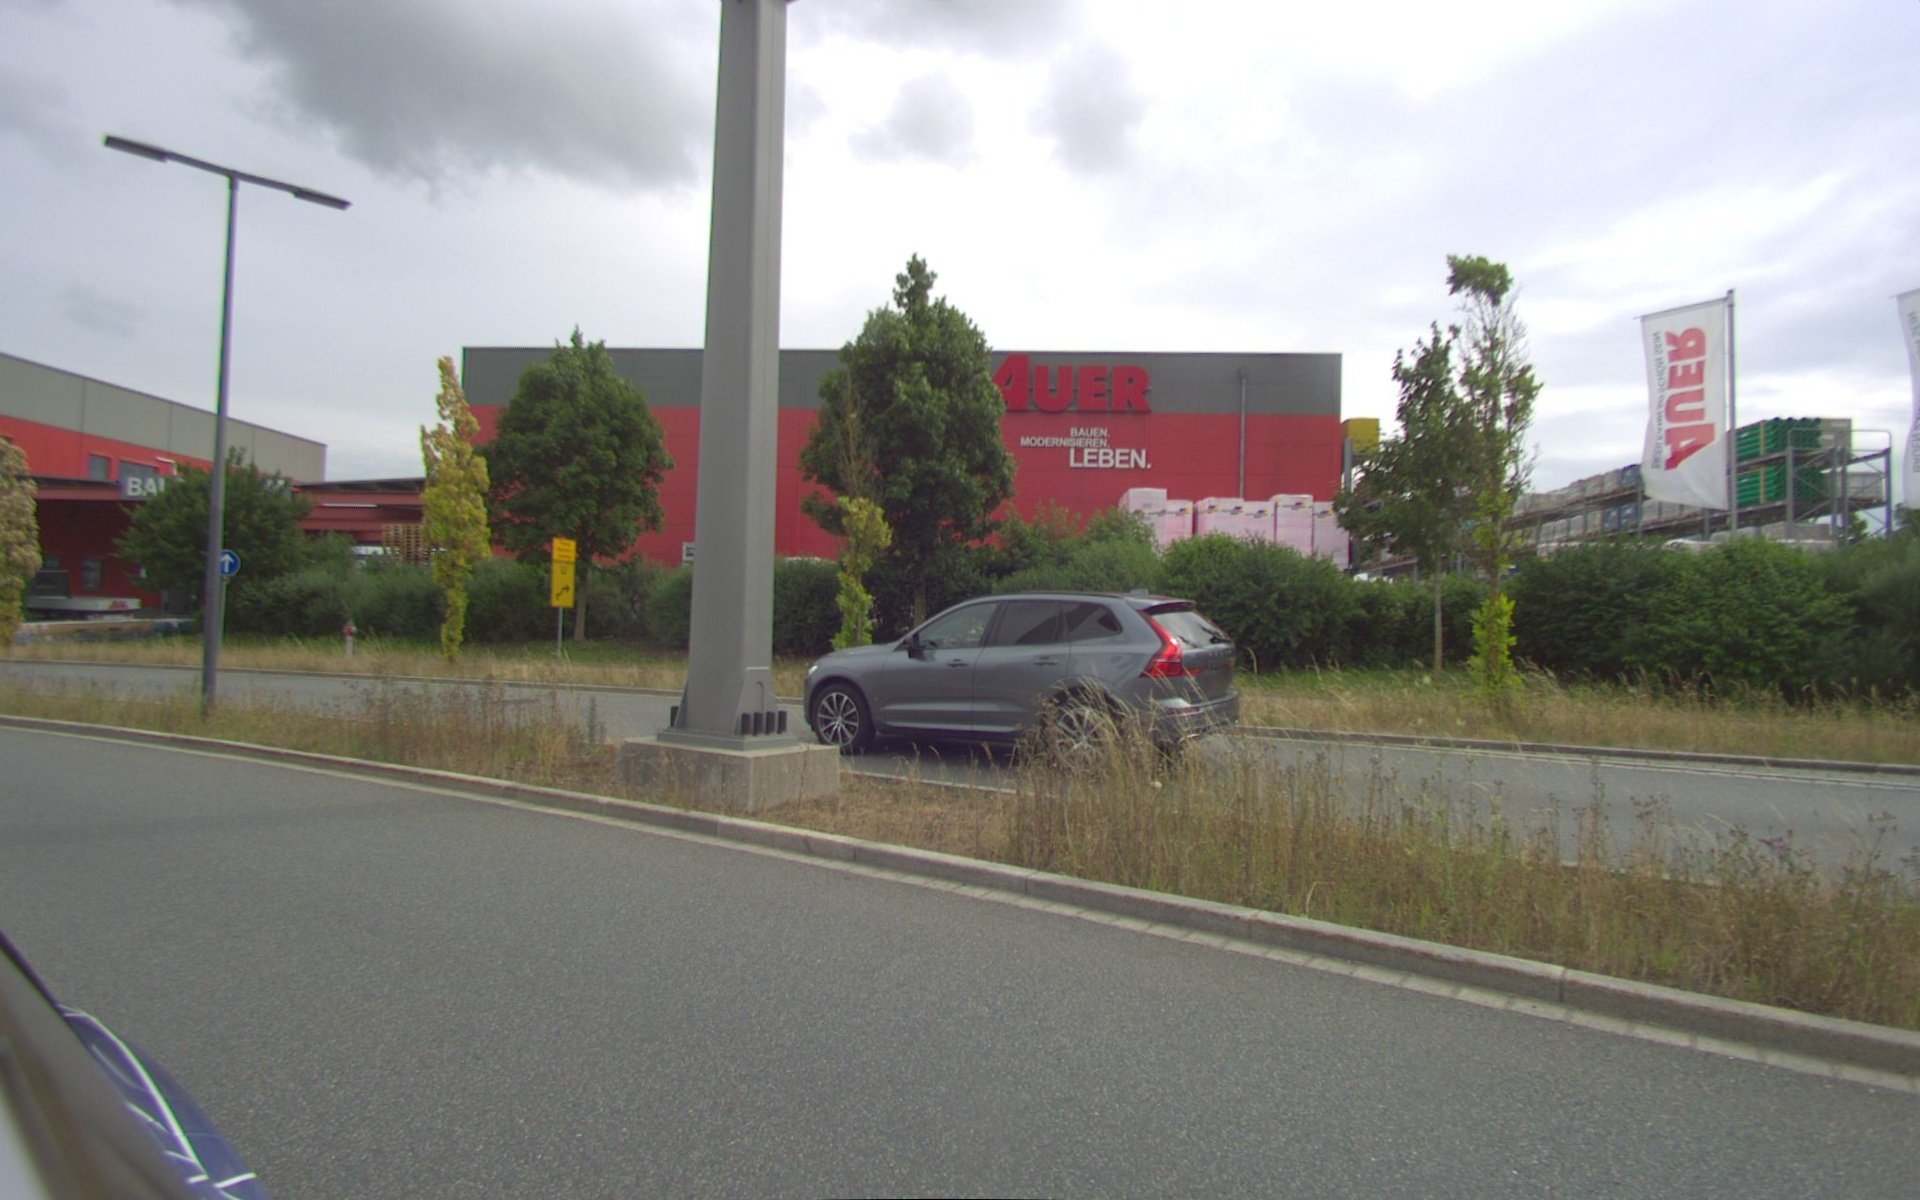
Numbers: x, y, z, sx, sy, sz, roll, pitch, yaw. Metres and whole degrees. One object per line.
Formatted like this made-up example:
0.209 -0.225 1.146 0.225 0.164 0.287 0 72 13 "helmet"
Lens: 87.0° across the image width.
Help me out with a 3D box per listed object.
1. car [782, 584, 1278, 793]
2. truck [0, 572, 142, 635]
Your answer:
0.541 0.718 10.055 4.677 1.642 1.793 -1 0 36 "car"
-38.177 0.138 42.695 5.830 2.506 2.038 1 -1 4 "truck"
